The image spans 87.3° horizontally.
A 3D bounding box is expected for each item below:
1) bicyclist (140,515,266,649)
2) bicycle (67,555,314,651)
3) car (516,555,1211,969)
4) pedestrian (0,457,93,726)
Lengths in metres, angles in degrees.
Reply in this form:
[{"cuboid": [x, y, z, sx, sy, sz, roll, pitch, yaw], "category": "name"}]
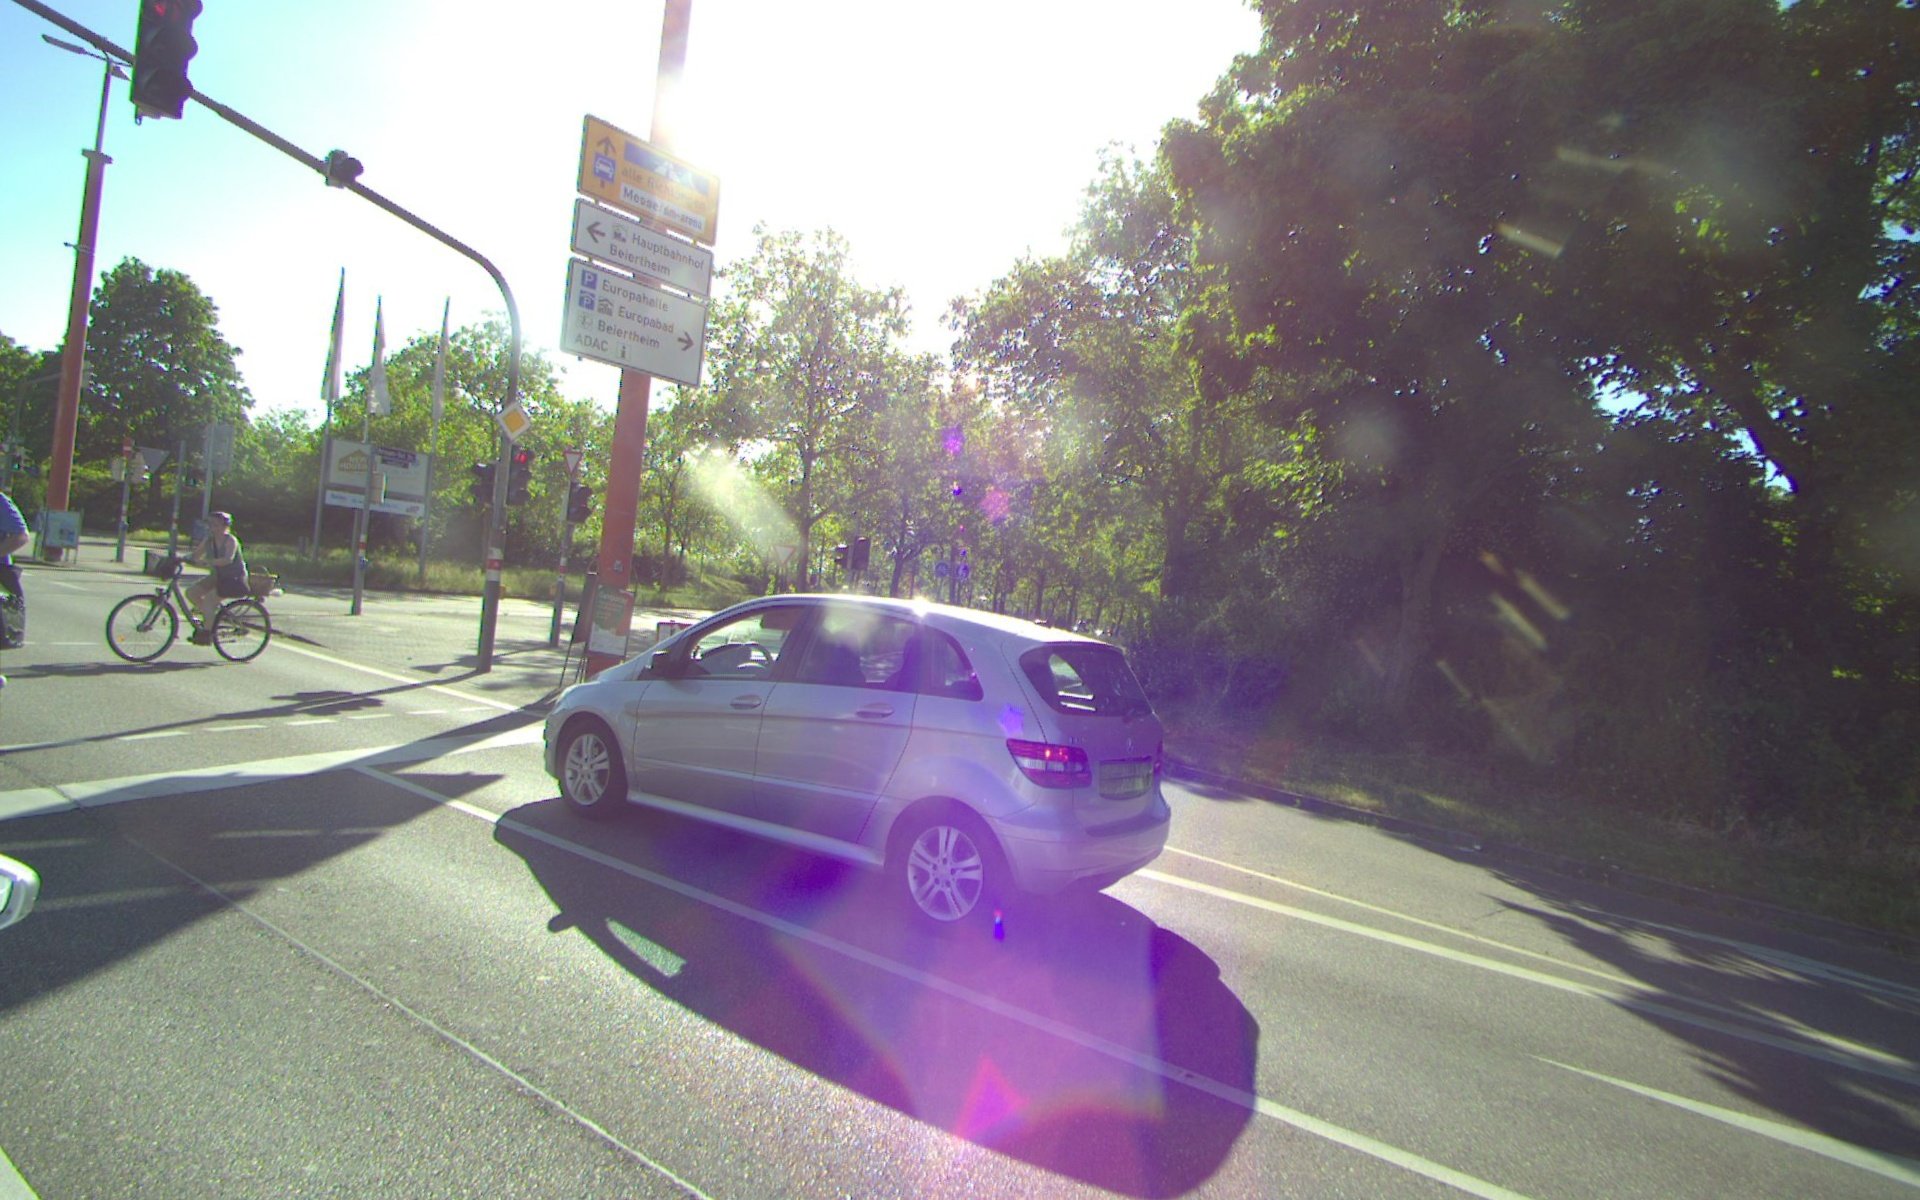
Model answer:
[{"cuboid": [-8.343, -0.186, 11.105, 0.695, 1.358, 0.742, 7, 0, 21], "category": "bicyclist"}, {"cuboid": [-8.409, 0.075, 11.141, 0.549, 0.889, 2.169, 7, -1, 19], "category": "bicycle"}, {"cuboid": [-0.732, 0.738, 6.251, 3.994, 1.559, 1.670, 7, 0, 33], "category": "car"}, {"cuboid": [-6.945, -0.112, 7.045, 0.888, 1.810, 0.890, 8, 0, -20], "category": "pedestrian"}]
